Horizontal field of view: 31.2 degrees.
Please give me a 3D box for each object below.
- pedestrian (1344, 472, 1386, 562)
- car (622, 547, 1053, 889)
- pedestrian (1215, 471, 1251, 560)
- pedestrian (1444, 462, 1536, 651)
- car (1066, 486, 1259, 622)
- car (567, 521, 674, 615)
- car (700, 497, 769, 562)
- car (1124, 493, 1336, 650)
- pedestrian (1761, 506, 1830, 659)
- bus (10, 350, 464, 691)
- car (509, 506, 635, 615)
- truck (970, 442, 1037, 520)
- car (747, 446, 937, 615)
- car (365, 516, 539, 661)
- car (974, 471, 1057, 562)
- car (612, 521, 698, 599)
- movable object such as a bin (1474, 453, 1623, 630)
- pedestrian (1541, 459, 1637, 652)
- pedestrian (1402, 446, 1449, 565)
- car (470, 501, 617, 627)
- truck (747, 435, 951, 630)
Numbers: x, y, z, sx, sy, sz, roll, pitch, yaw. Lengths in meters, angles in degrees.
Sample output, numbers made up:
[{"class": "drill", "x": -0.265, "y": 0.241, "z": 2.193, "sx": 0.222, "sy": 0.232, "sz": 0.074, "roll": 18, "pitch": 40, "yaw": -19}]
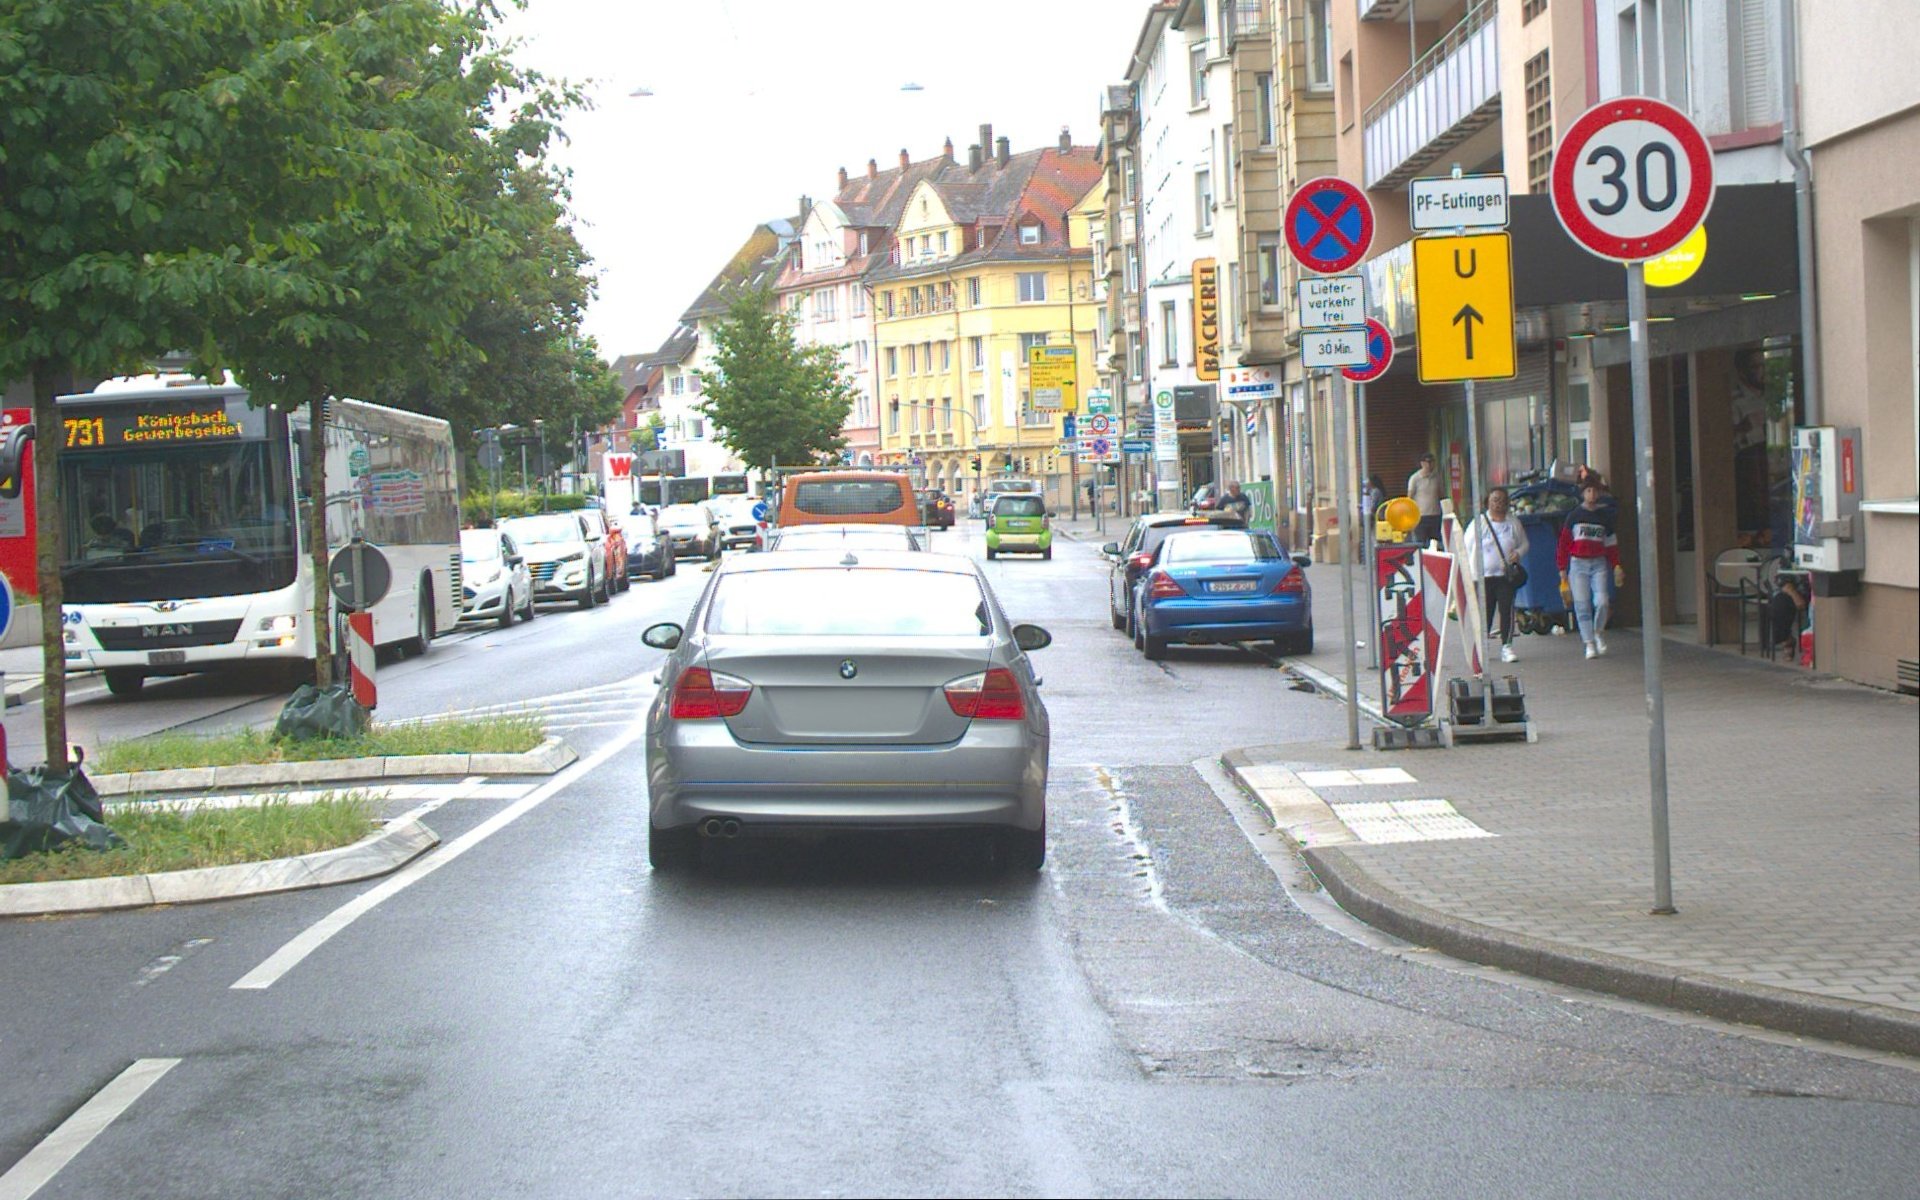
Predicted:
[{"class": "pedestrian", "x": 6.540, "y": -1.339, "z": 55.495, "sx": 0.565, "sy": 1.416, "sz": 0.796, "roll": 1, "pitch": 0, "yaw": 13}, {"class": "car", "x": -0.498, "y": 0.459, "z": 15.606, "sx": 1.756, "sy": 1.358, "sz": 3.165, "roll": 0, "pitch": 1, "yaw": 0}, {"class": "pedestrian", "x": 4.438, "y": -1.370, "z": 55.830, "sx": 0.522, "sy": 1.416, "sz": 0.430, "roll": 1, "pitch": 0, "yaw": 9}, {"class": "pedestrian", "x": 4.727, "y": -0.385, "z": 30.692, "sx": 0.749, "sy": 1.655, "sz": 0.836, "roll": 1, "pitch": 0, "yaw": 6}, {"class": "car", "x": 2.366, "y": -0.518, "z": 41.080, "sx": 1.993, "sy": 1.514, "sz": 4.000, "roll": 1, "pitch": 0, "yaw": -1}, {"class": "car", "x": -7.539, "y": -0.697, "z": 76.651, "sx": 1.993, "sy": 2.007, "sz": 4.000, "roll": 1, "pitch": 0, "yaw": -1}, {"class": "car", "x": -7.367, "y": -2.293, "z": 112.642, "sx": 1.993, "sy": 2.007, "sz": 4.000, "roll": 1, "pitch": 0, "yaw": -1}, {"class": "car", "x": 2.748, "y": -0.273, "z": 35.775, "sx": 1.809, "sy": 1.514, "sz": 4.000, "roll": 1, "pitch": 0, "yaw": -1}, {"class": "pedestrian", "x": 6.734, "y": -0.146, "z": 27.725, "sx": 0.412, "sy": 1.199, "sz": 0.357, "roll": -4, "pitch": 2, "yaw": 3}, {"class": "bus", "x": -7.755, "y": -0.831, "z": 38.760, "sx": 2.681, "sy": 3.189, "sz": 11.957, "roll": -1, "pitch": 1, "yaw": -1}, {"class": "car", "x": -7.417, "y": -0.731, "z": 66.039, "sx": 1.993, "sy": 2.007, "sz": 4.000, "roll": 1, "pitch": 0, "yaw": -1}, {"class": "truck", "x": 1.505, "y": -4.192, "z": 121.717, "sx": 2.216, "sy": 2.535, "sz": 4.780, "roll": 1, "pitch": 0, "yaw": -1}, {"class": "car", "x": -1.067, "y": -0.591, "z": 31.036, "sx": 1.601, "sy": 1.415, "sz": 3.288, "roll": 1, "pitch": 0, "yaw": -2}, {"class": "car", "x": -7.494, "y": -0.164, "z": 51.045, "sx": 1.993, "sy": 2.007, "sz": 4.000, "roll": -2, "pitch": 0, "yaw": -1}, {"class": "car", "x": 1.275, "y": -1.926, "z": 80.447, "sx": 1.705, "sy": 2.007, "sz": 4.000, "roll": 1, "pitch": 0, "yaw": -2}, {"class": "car", "x": -8.181, "y": -1.044, "z": 92.547, "sx": 1.993, "sy": 2.007, "sz": 4.000, "roll": 1, "pitch": 0, "yaw": -1}, {"class": "movable object such as a bin", "x": 5.887, "y": -0.573, "z": 34.467, "sx": 1.122, "sy": 1.697, "sz": 1.434, "roll": -3, "pitch": 0, "yaw": -2}, {"class": "pedestrian", "x": 5.506, "y": -0.385, "z": 30.127, "sx": 0.750, "sy": 1.655, "sz": 0.754, "roll": 1, "pitch": 0, "yaw": 7}, {"class": "pedestrian", "x": 6.575, "y": -1.332, "z": 48.625, "sx": 0.615, "sy": 1.655, "sz": 0.754, "roll": 1, "pitch": 0, "yaw": 6}, {"class": "car", "x": -6.907, "y": -0.574, "z": 57.297, "sx": 1.993, "sy": 2.007, "sz": 4.000, "roll": -1, "pitch": 0, "yaw": -1}, {"class": "truck", "x": -1.331, "y": -0.770, "z": 40.970, "sx": 2.215, "sy": 2.109, "sz": 4.652, "roll": 2, "pitch": 0, "yaw": -2}]
